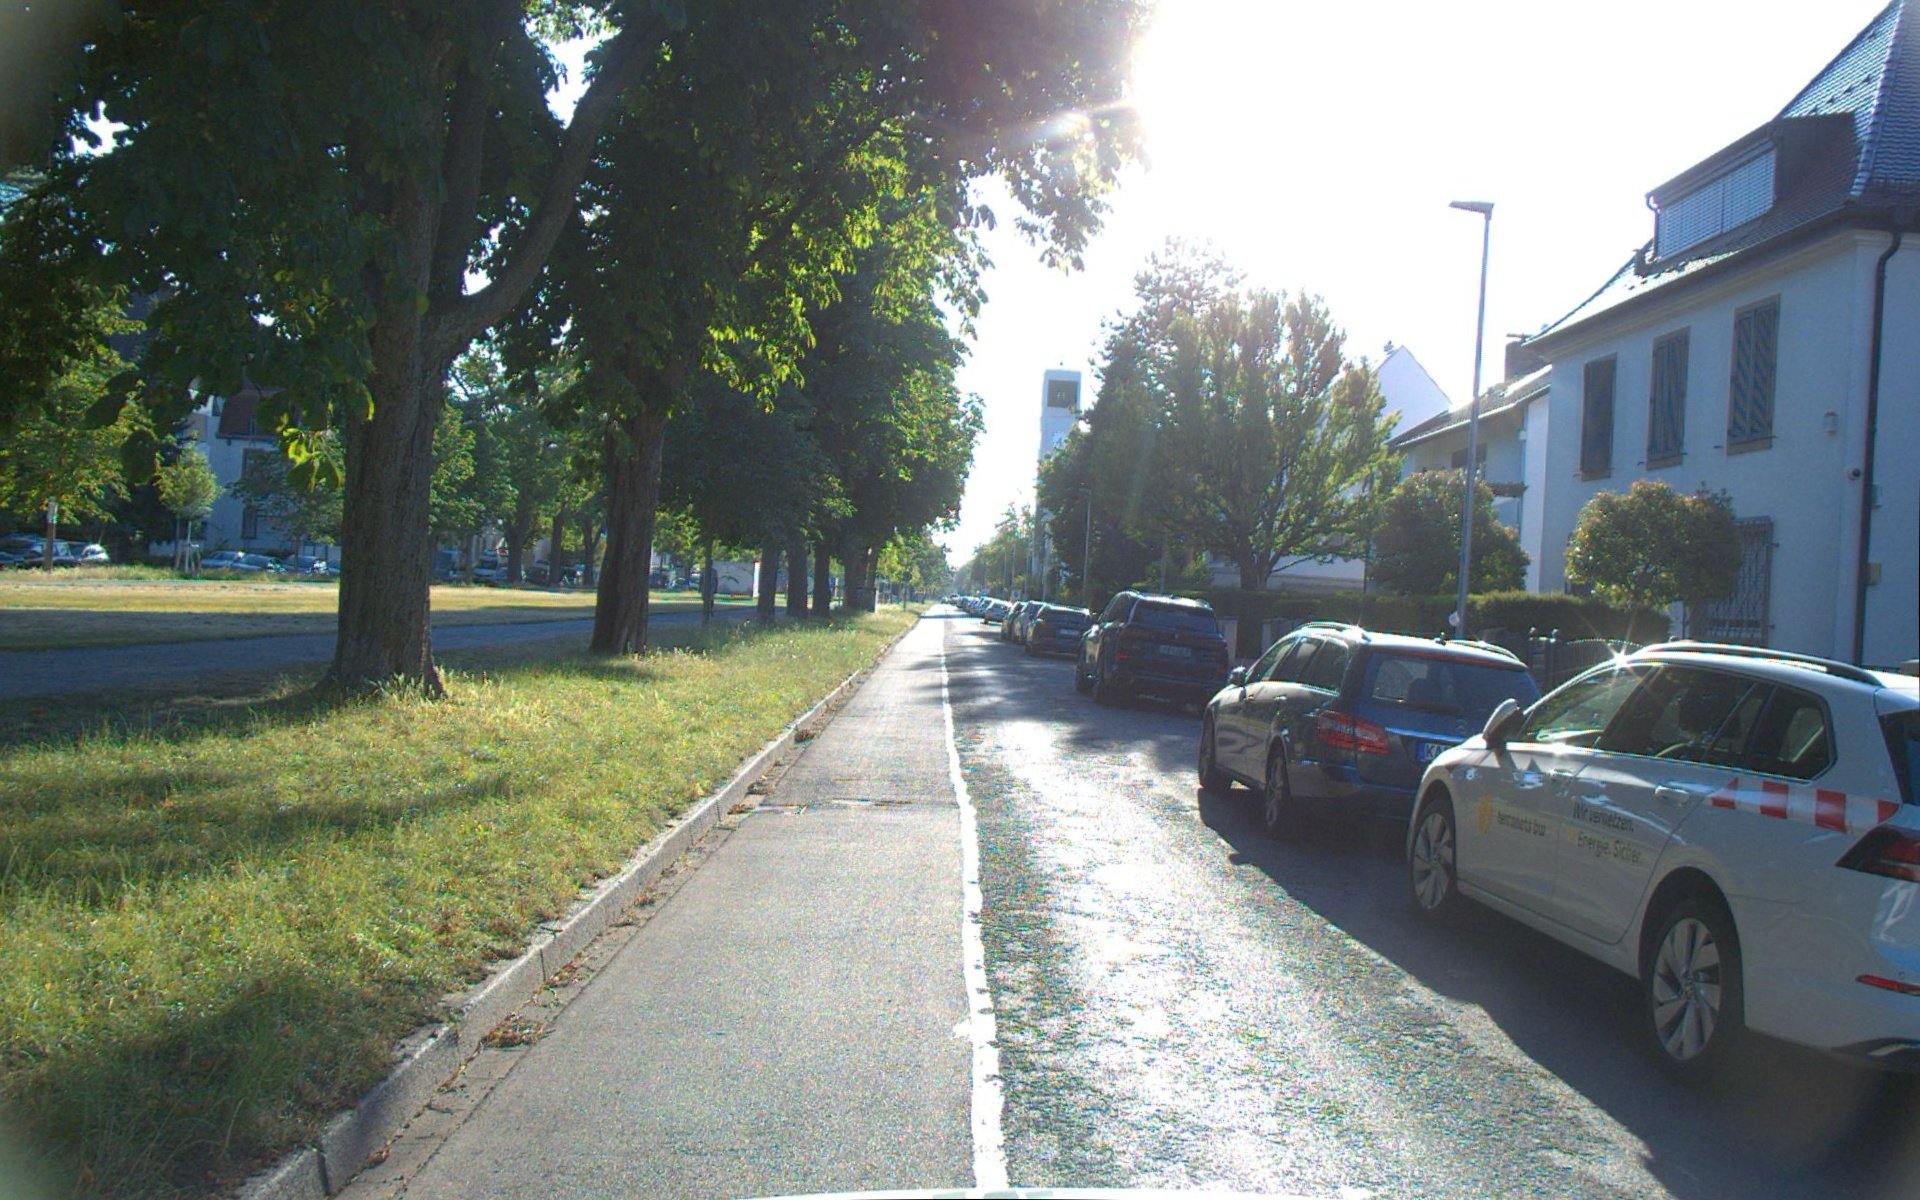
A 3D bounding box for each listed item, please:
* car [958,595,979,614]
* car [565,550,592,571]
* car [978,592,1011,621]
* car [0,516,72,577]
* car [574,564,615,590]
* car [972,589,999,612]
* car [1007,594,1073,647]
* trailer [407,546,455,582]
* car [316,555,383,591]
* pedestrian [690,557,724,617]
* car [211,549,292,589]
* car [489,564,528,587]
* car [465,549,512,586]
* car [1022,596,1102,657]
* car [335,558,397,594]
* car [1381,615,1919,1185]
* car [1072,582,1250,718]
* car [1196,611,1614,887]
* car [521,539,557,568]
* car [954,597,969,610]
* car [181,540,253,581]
[{"bbox_3d":[0.764,0.411,152.902,1.726,1.547,3.999,5,0,-2],"label":"car"},{"bbox_3d":[-41.272,-4.280,178.993,1.953,2.049,4.483,1,-1,-1],"label":"car"},{"bbox_3d":[2.049,0.397,99.041,1.723,1.443,4.072,9,0,0],"label":"car"},{"bbox_3d":[-33.797,-1.926,58.993,1.953,2.048,4.000,4,0,0],"label":"car"},{"bbox_3d":[-34.053,-2.147,154.170,2.483,2.275,5.458,3,1,0],"label":"car"},{"bbox_3d":[1.877,0.024,122.136,1.723,1.633,4.357,3,0,-2],"label":"car"},{"bbox_3d":[2.710,0.673,56.804,1.659,1.508,3.925,7,0,-5],"label":"car"},{"bbox_3d":[-39.888,-2.703,124.870,1.953,2.470,4.723,3,0,0],"label":"trailer"},{"bbox_3d":[-33.605,-1.467,91.147,1.953,1.751,4.255,4,0,1],"label":"car"},{"bbox_3d":[-7.730,-0.387,50.595,0.709,1.788,0.994,3,0,6],"label":"pedestrian"},{"bbox_3d":[-33.971,-1.453,79.368,1.952,1.713,4.001,4,0,2],"label":"car"},{"bbox_3d":[-34.165,-1.820,125.279,1.650,1.587,4.314,3,0,0],"label":"car"},{"bbox_3d":[-40.261,-2.784,141.439,2.388,2.973,5.817,1,0,-1],"label":"car"},{"bbox_3d":[2.794,0.711,46.236,1.757,1.518,4.673,4,0,-1],"label":"car"},{"bbox_3d":[-34.510,-1.377,96.209,1.953,1.892,4.255,4,0,1],"label":"car"},{"bbox_3d":[3.482,0.954,6.887,1.955,1.489,4.547,6,0,-3],"label":"car"},{"bbox_3d":[3.109,0.717,26.689,1.954,1.766,4.862,7,0,-2],"label":"car"},{"bbox_3d":[3.098,0.942,12.578,1.744,1.488,4.593,6,0,-1],"label":"car"},{"bbox_3d":[-34.495,-3.767,135.612,1.650,2.213,4.314,3,1,0],"label":"car"},{"bbox_3d":[0.240,0.455,224.188,1.940,1.712,4.000,3,0,0],"label":"car"},{"bbox_3d":[-39.662,-2.081,88.429,1.990,2.049,4.000,1,0,0],"label":"car"}]
